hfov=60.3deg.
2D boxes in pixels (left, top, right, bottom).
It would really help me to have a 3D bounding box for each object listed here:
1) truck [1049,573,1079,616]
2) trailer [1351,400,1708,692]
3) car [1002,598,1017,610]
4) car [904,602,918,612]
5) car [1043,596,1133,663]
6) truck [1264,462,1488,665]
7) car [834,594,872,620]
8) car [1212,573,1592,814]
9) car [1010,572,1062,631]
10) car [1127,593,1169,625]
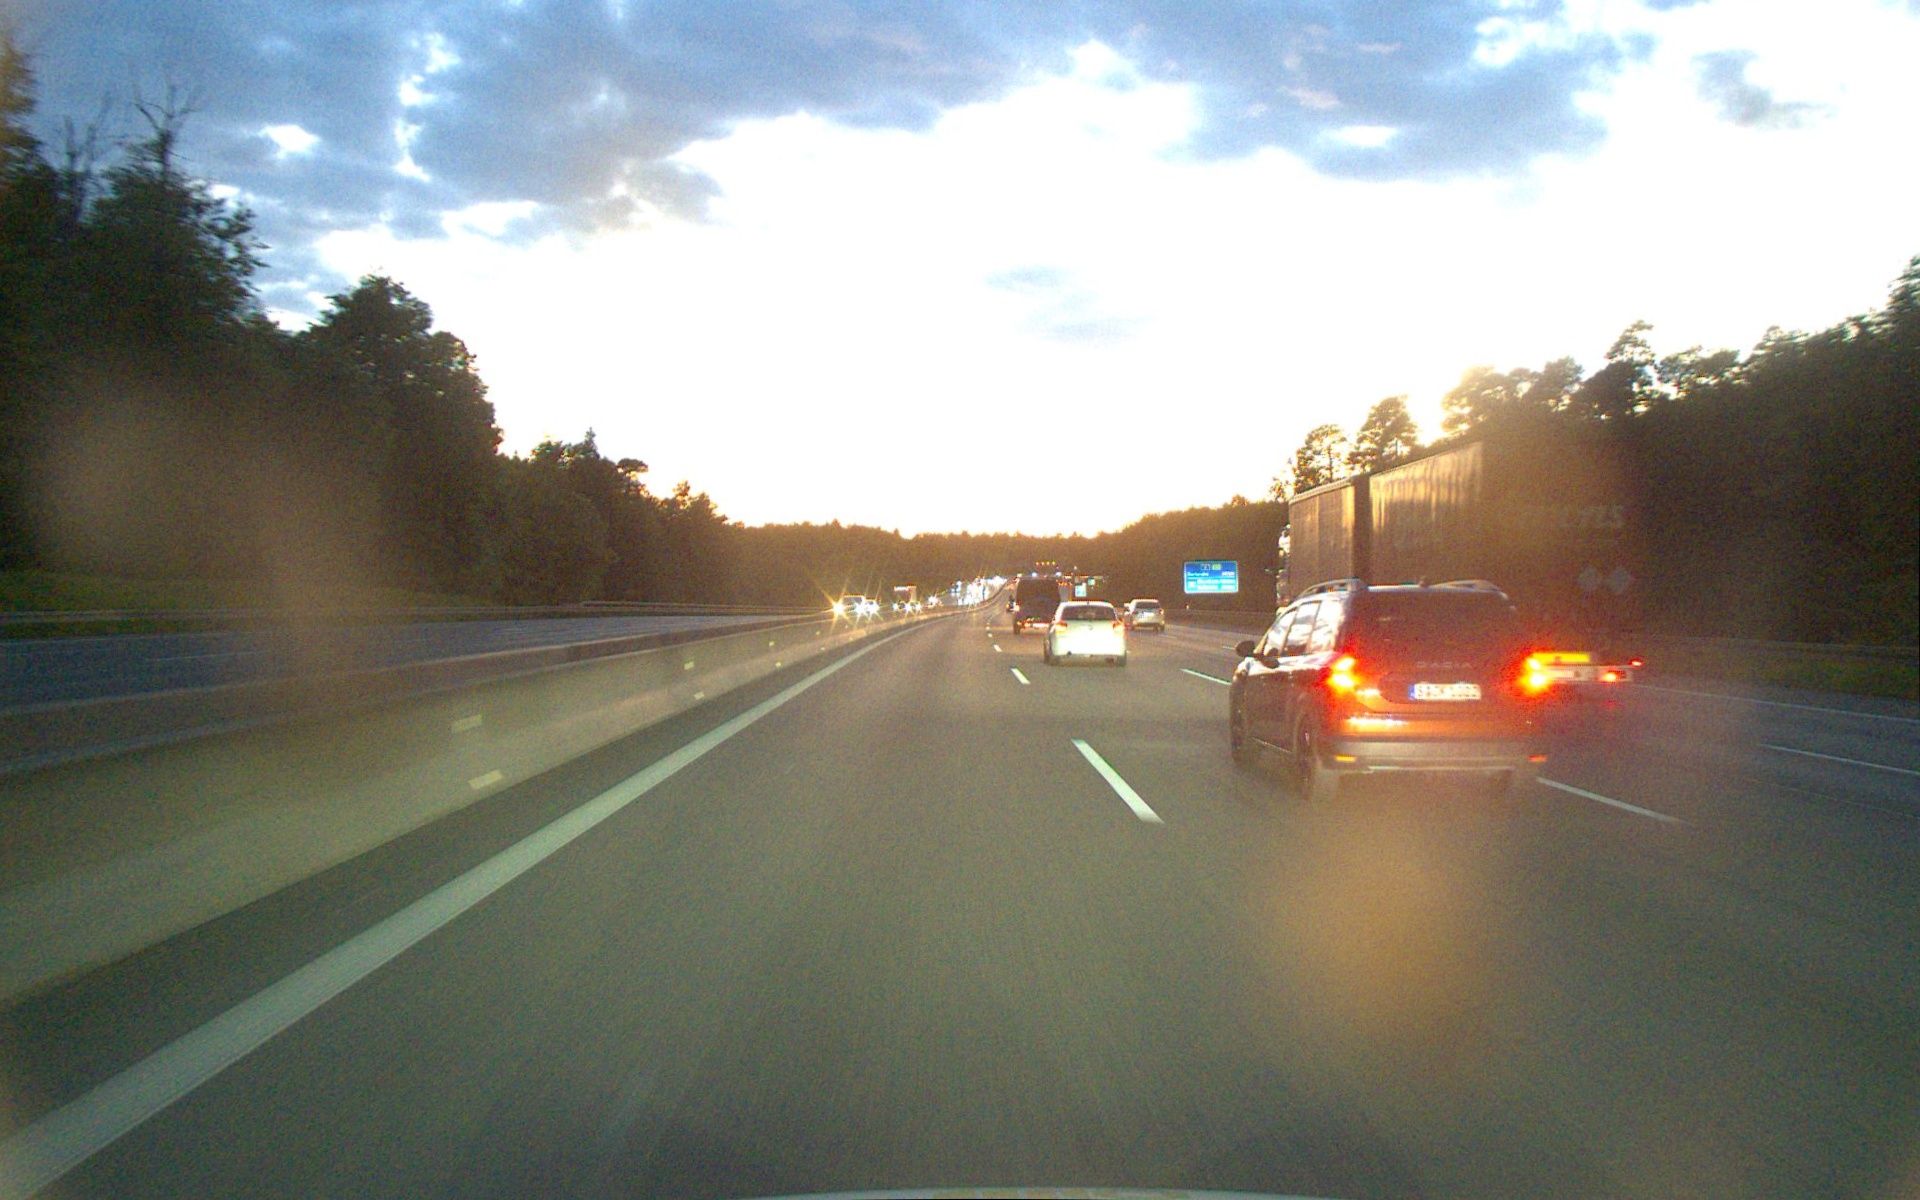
[{"bbox_3d":[15.033,-0.741,241.043,4.063,5.959,14.300,0,0,3],"label":"truck"},{"bbox_3d":[9.374,-0.755,28.850,2.847,4.172,10.358,0,0,1],"label":"trailer"},{"bbox_3d":[6.781,0.589,226.398,1.798,1.598,4.002,0,0,4],"label":"car"},{"bbox_3d":[-6.962,1.017,235.490,1.739,1.426,4.940,0,0,1],"label":"car"},{"bbox_3d":[2.917,0.651,38.414,1.821,1.467,3.720,0,0,0],"label":"car"},{"bbox_3d":[9.566,-0.726,39.468,2.825,4.172,10.833,0,0,1],"label":"truck"},{"bbox_3d":[-7.094,0.468,110.361,1.952,1.667,5.113,1,0,3],"label":"car"},{"bbox_3d":[3.464,0.623,14.038,1.864,1.672,5.052,0,1,0],"label":"car"},{"bbox_3d":[3.337,0.059,71.775,2.120,2.461,5.566,0,0,4],"label":"car"},{"bbox_3d":[9.530,0.465,84.088,1.965,1.565,4.002,0,0,4],"label":"car"}]
